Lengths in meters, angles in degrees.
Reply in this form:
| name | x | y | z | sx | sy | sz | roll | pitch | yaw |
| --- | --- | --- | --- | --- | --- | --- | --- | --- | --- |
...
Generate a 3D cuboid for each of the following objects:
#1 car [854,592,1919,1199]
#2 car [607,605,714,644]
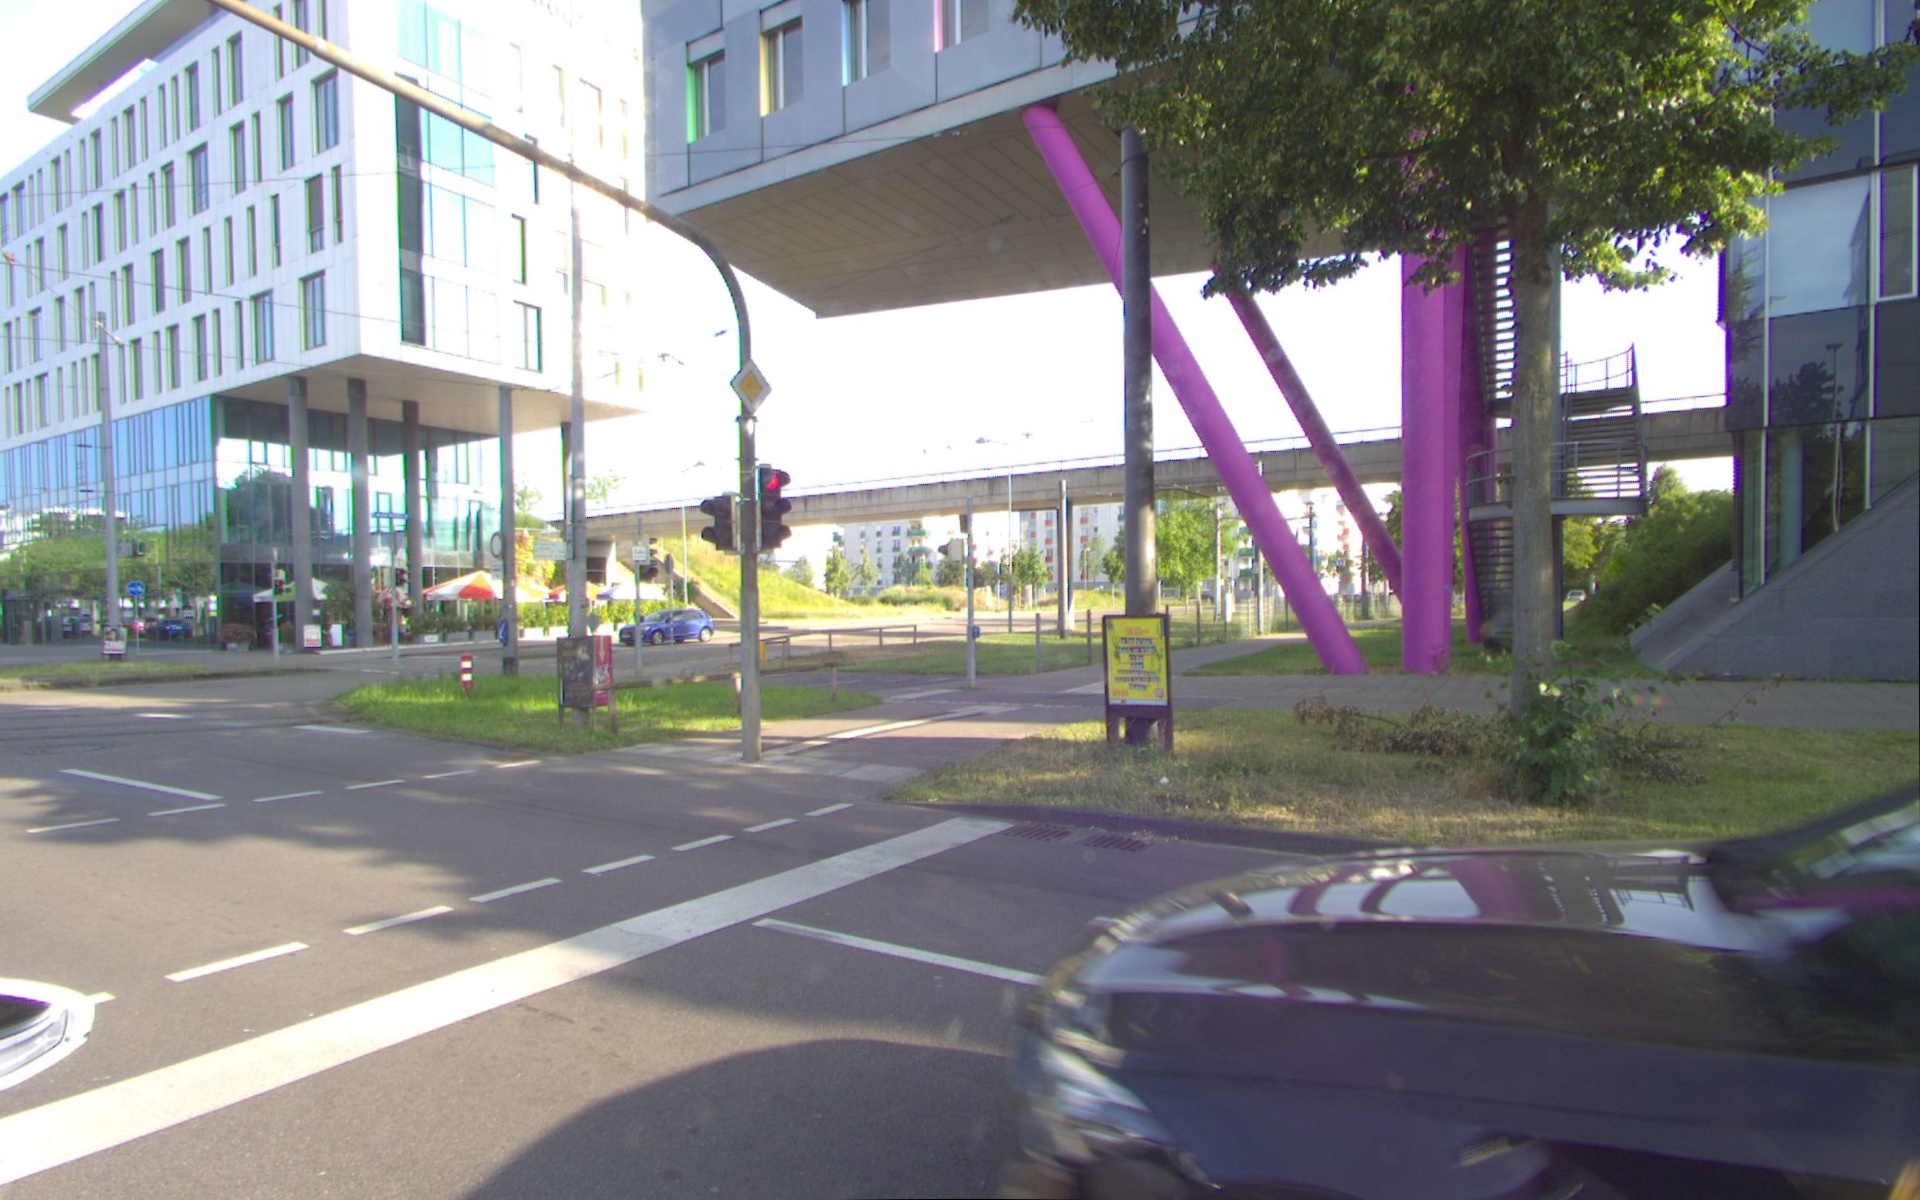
| name | x | y | z | sx | sy | sz | roll | pitch | yaw |
| --- | --- | --- | --- | --- | --- | --- | --- | --- | --- |
| car | 2.193 | 0.742 | 1.290 | 4.490 | 1.469 | 1.835 | 0 | -1 | 32 |
| car | -12.474 | 0.983 | 41.960 | 1.832 | 1.443 | 4.176 | 0 | 1 | 31 |
